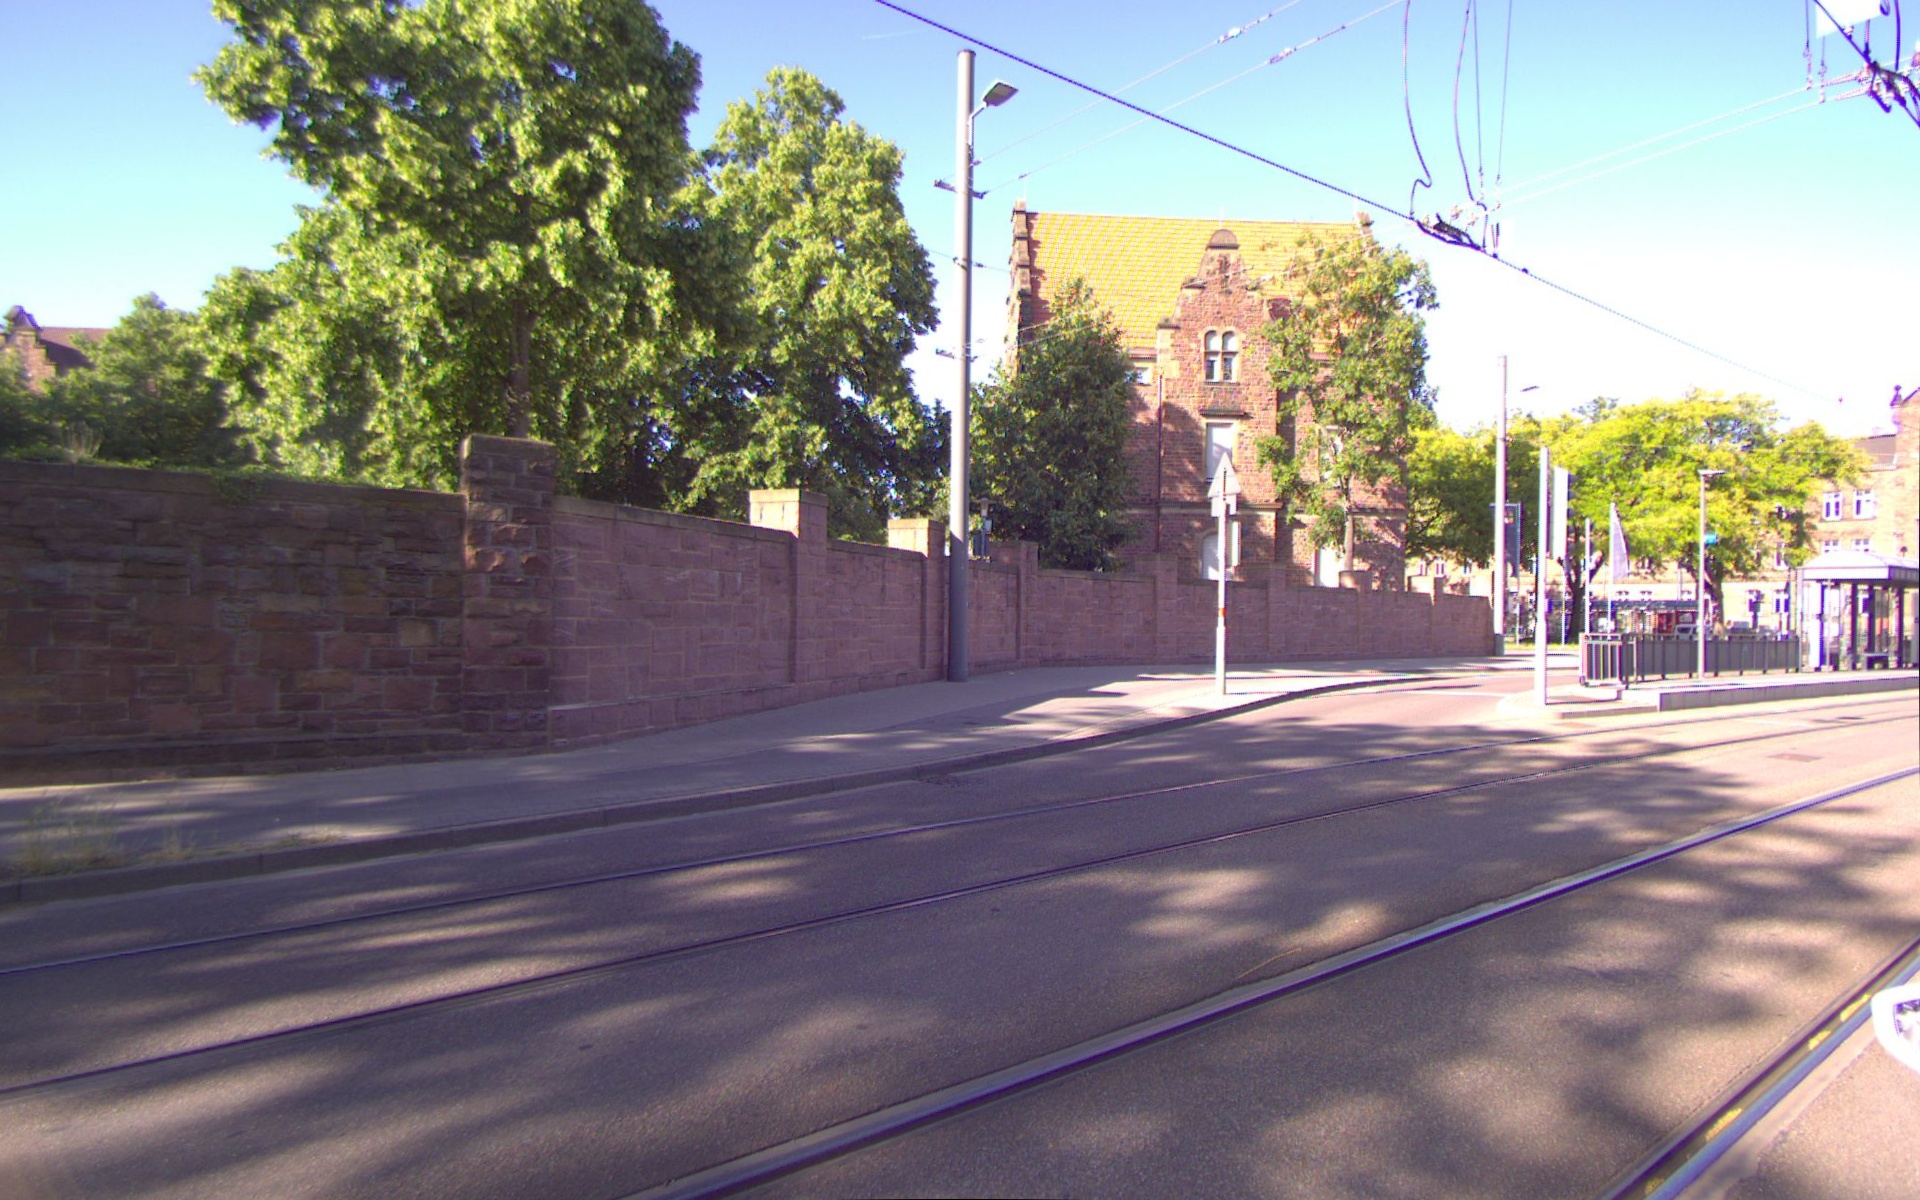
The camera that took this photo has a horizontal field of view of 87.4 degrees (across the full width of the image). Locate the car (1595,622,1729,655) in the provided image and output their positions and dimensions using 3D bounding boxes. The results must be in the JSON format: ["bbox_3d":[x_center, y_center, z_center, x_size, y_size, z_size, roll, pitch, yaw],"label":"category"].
[{"bbox_3d":[47.936,2.592,68.801,2.957,1.946,6.915,1,-1,-30],"label":"car"}]
